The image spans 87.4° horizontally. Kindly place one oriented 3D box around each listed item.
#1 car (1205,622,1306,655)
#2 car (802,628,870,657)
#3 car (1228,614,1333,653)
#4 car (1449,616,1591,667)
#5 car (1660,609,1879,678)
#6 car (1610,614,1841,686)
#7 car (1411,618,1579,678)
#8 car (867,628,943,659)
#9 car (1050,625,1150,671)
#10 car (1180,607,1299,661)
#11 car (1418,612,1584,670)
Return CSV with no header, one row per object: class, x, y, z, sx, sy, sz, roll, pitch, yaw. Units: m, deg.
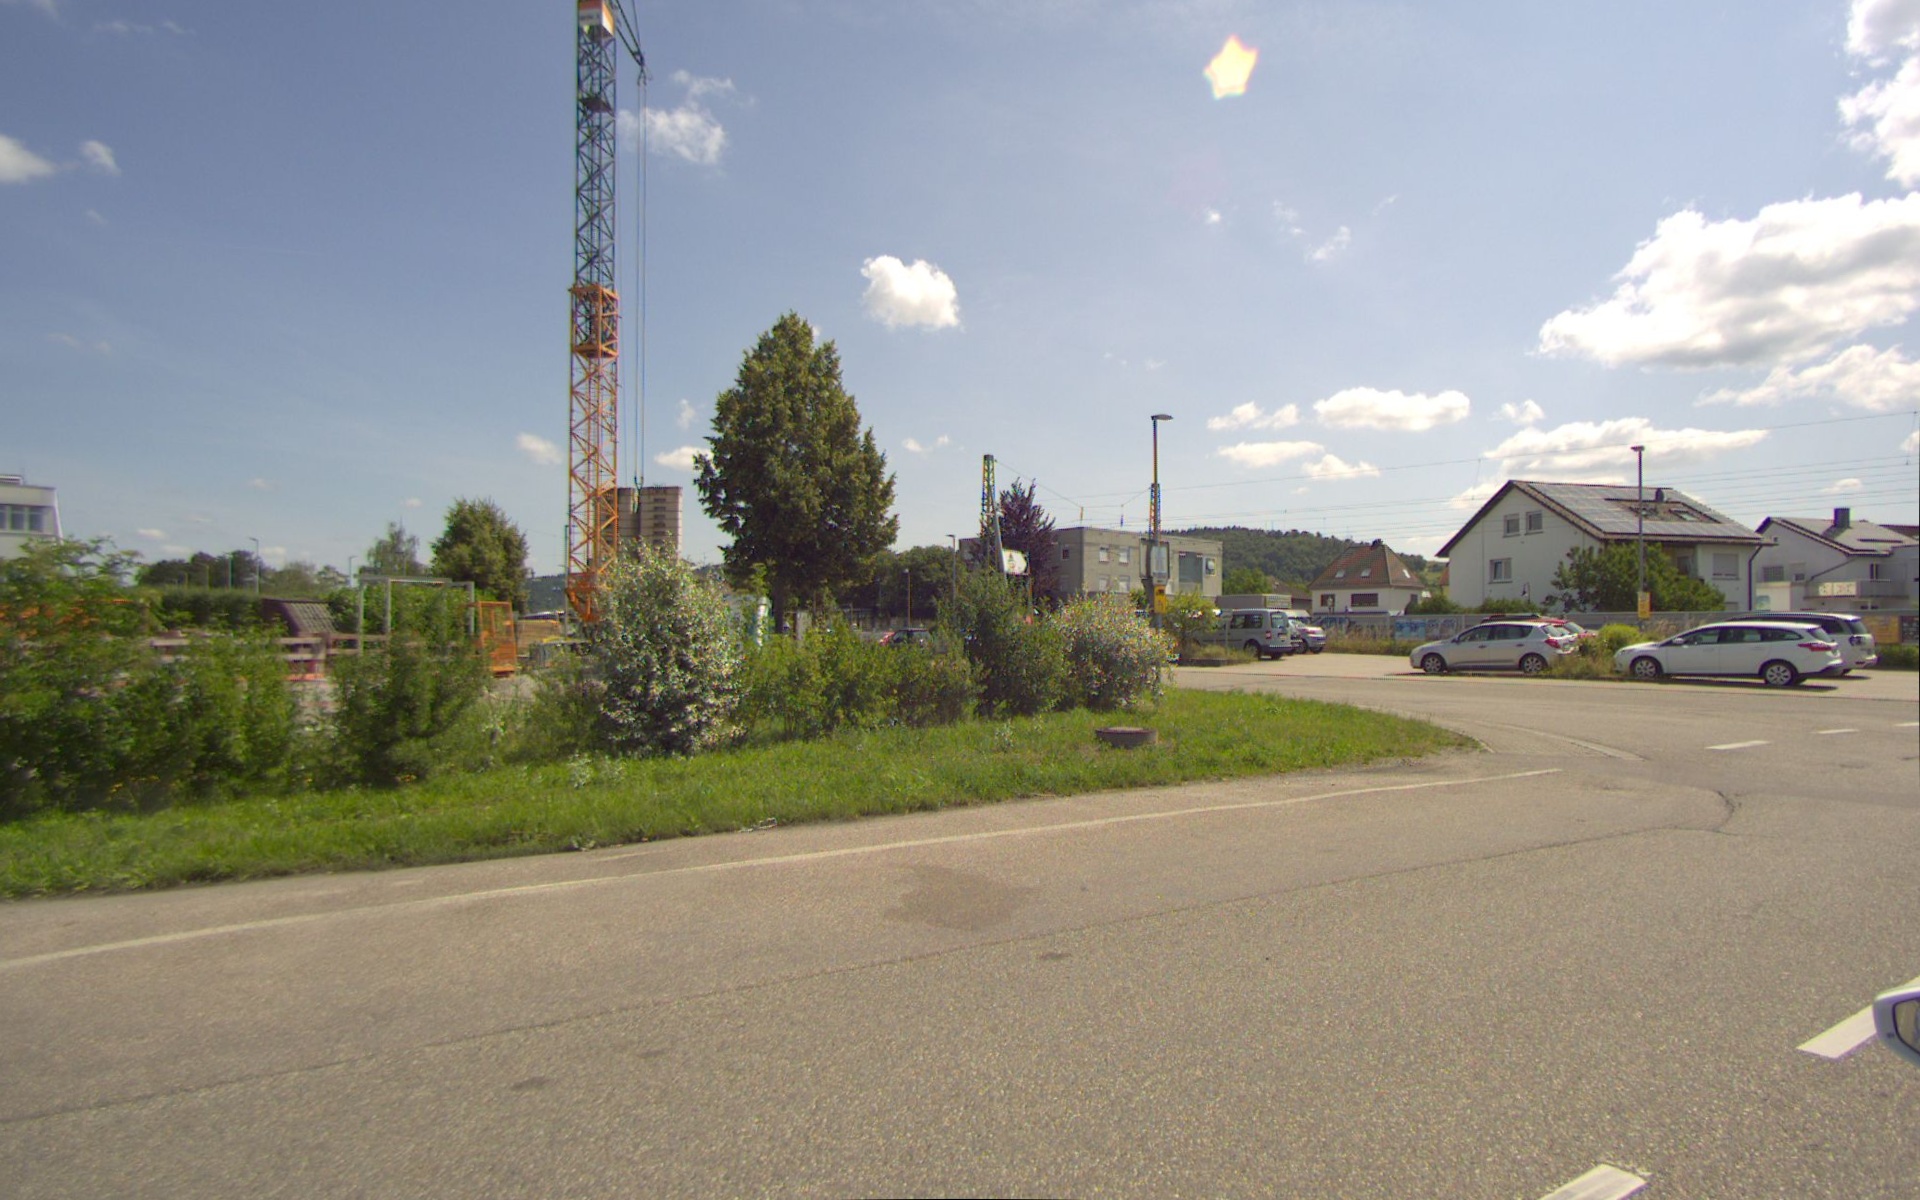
car,11.905,1.528,40.610,1.659,1.238,3.631,1,-2,-38
car,-6.927,2.350,55.780,1.877,1.522,3.951,1,-2,-42
car,13.440,1.401,42.276,1.669,1.439,3.956,2,0,-38
car,18.266,1.314,32.874,1.682,1.579,3.748,1,-2,-42
car,22.324,1.119,27.851,1.982,1.713,4.419,0,0,-37
car,18.775,1.169,24.797,1.813,1.496,4.245,2,0,-41
car,15.349,1.334,28.929,3.958,1.582,1.812,-1,-2,43
car,-2.768,2.122,49.962,1.813,1.477,3.954,1,-2,-40
car,6.085,2.052,43.848,1.987,1.916,3.947,1,-2,-45
car,10.570,1.246,38.172,1.890,1.840,3.952,0,1,-41
car,16.672,1.282,31.074,4.118,1.660,1.943,-3,-4,44
